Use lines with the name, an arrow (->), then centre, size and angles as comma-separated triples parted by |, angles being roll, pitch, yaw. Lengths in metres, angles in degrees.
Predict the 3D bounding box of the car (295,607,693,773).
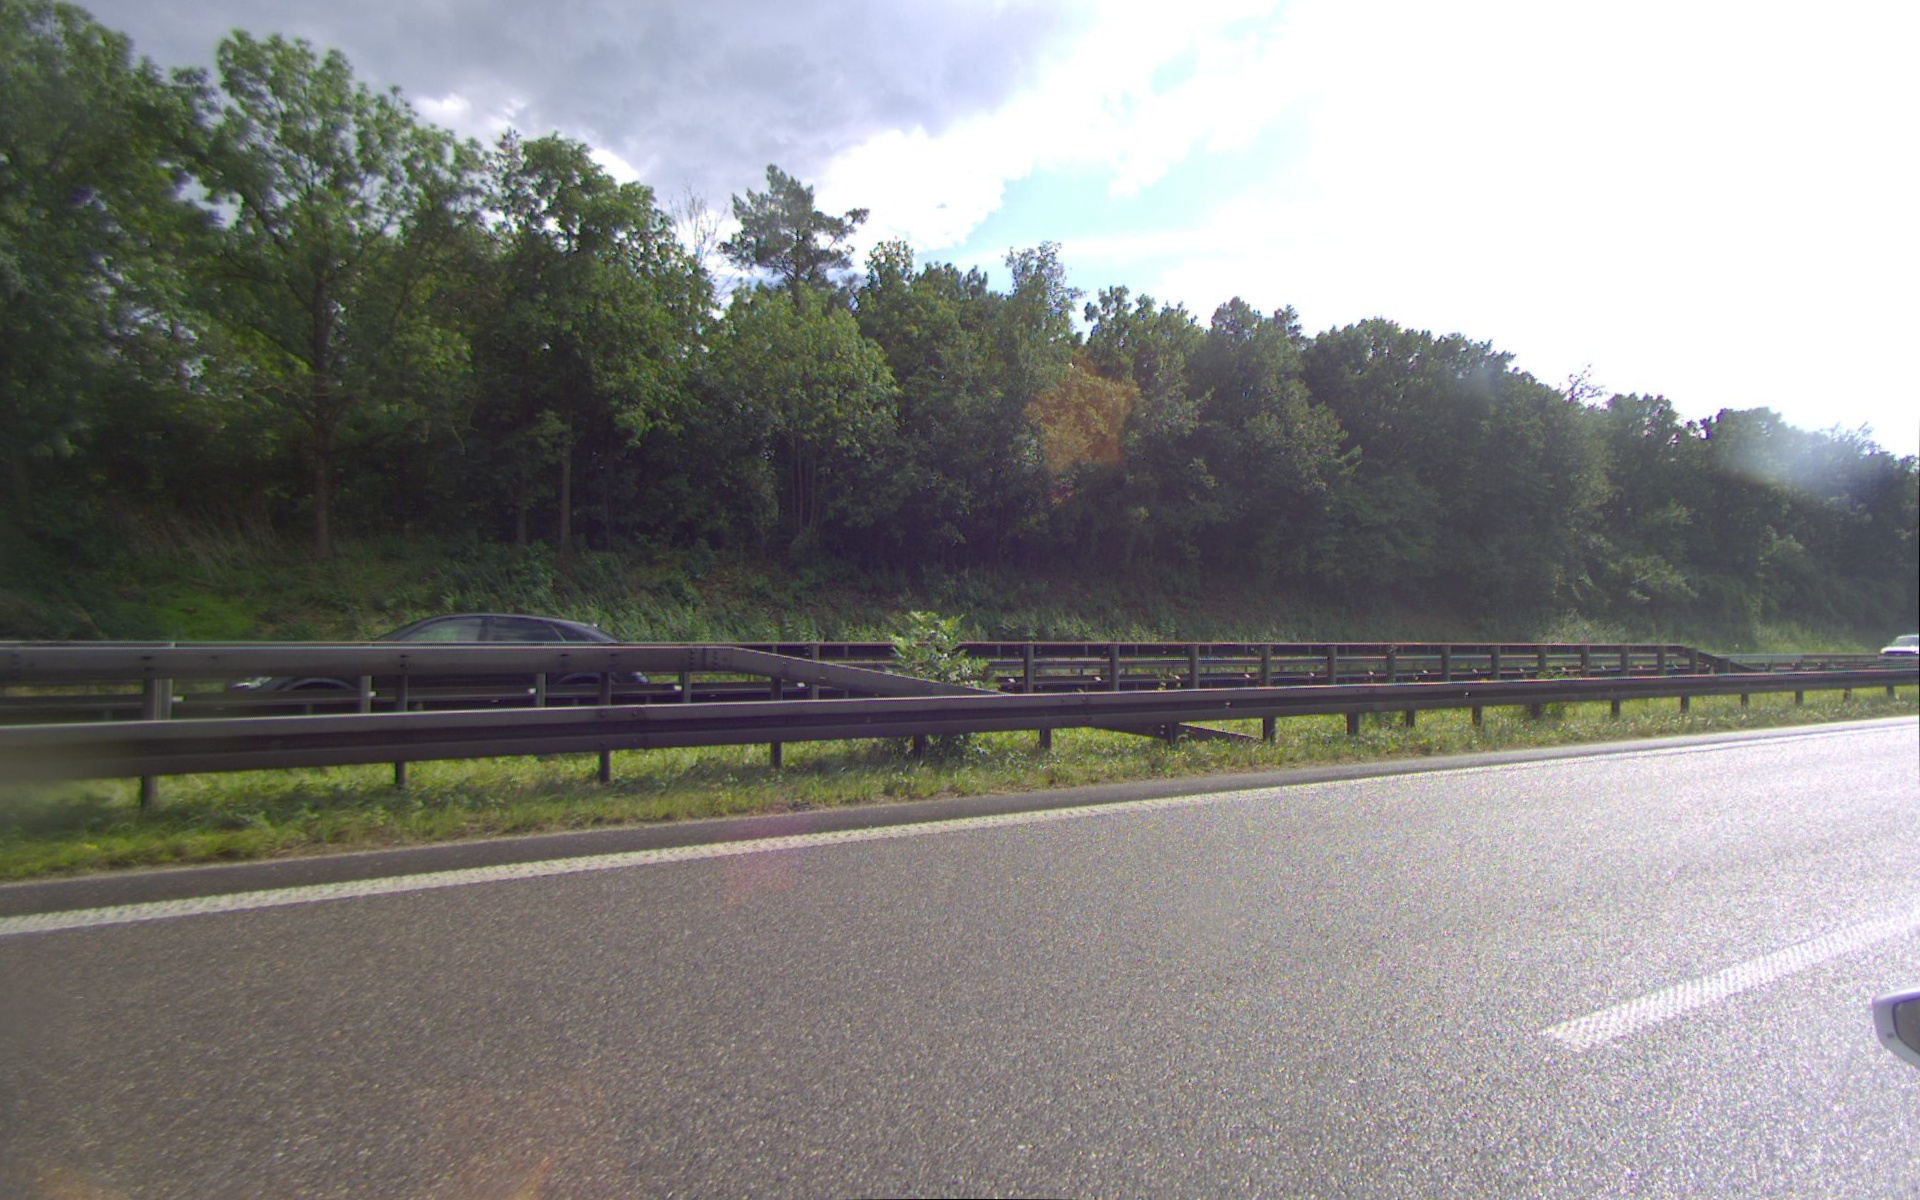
car -> -5.495, 0.988, 12.123 | 4.065, 1.685, 1.758 | 2, 0, -31

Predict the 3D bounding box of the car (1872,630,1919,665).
car -> 48.788, 2.422, 51.456 | 4.577, 1.685, 1.820 | 2, 0, -31
